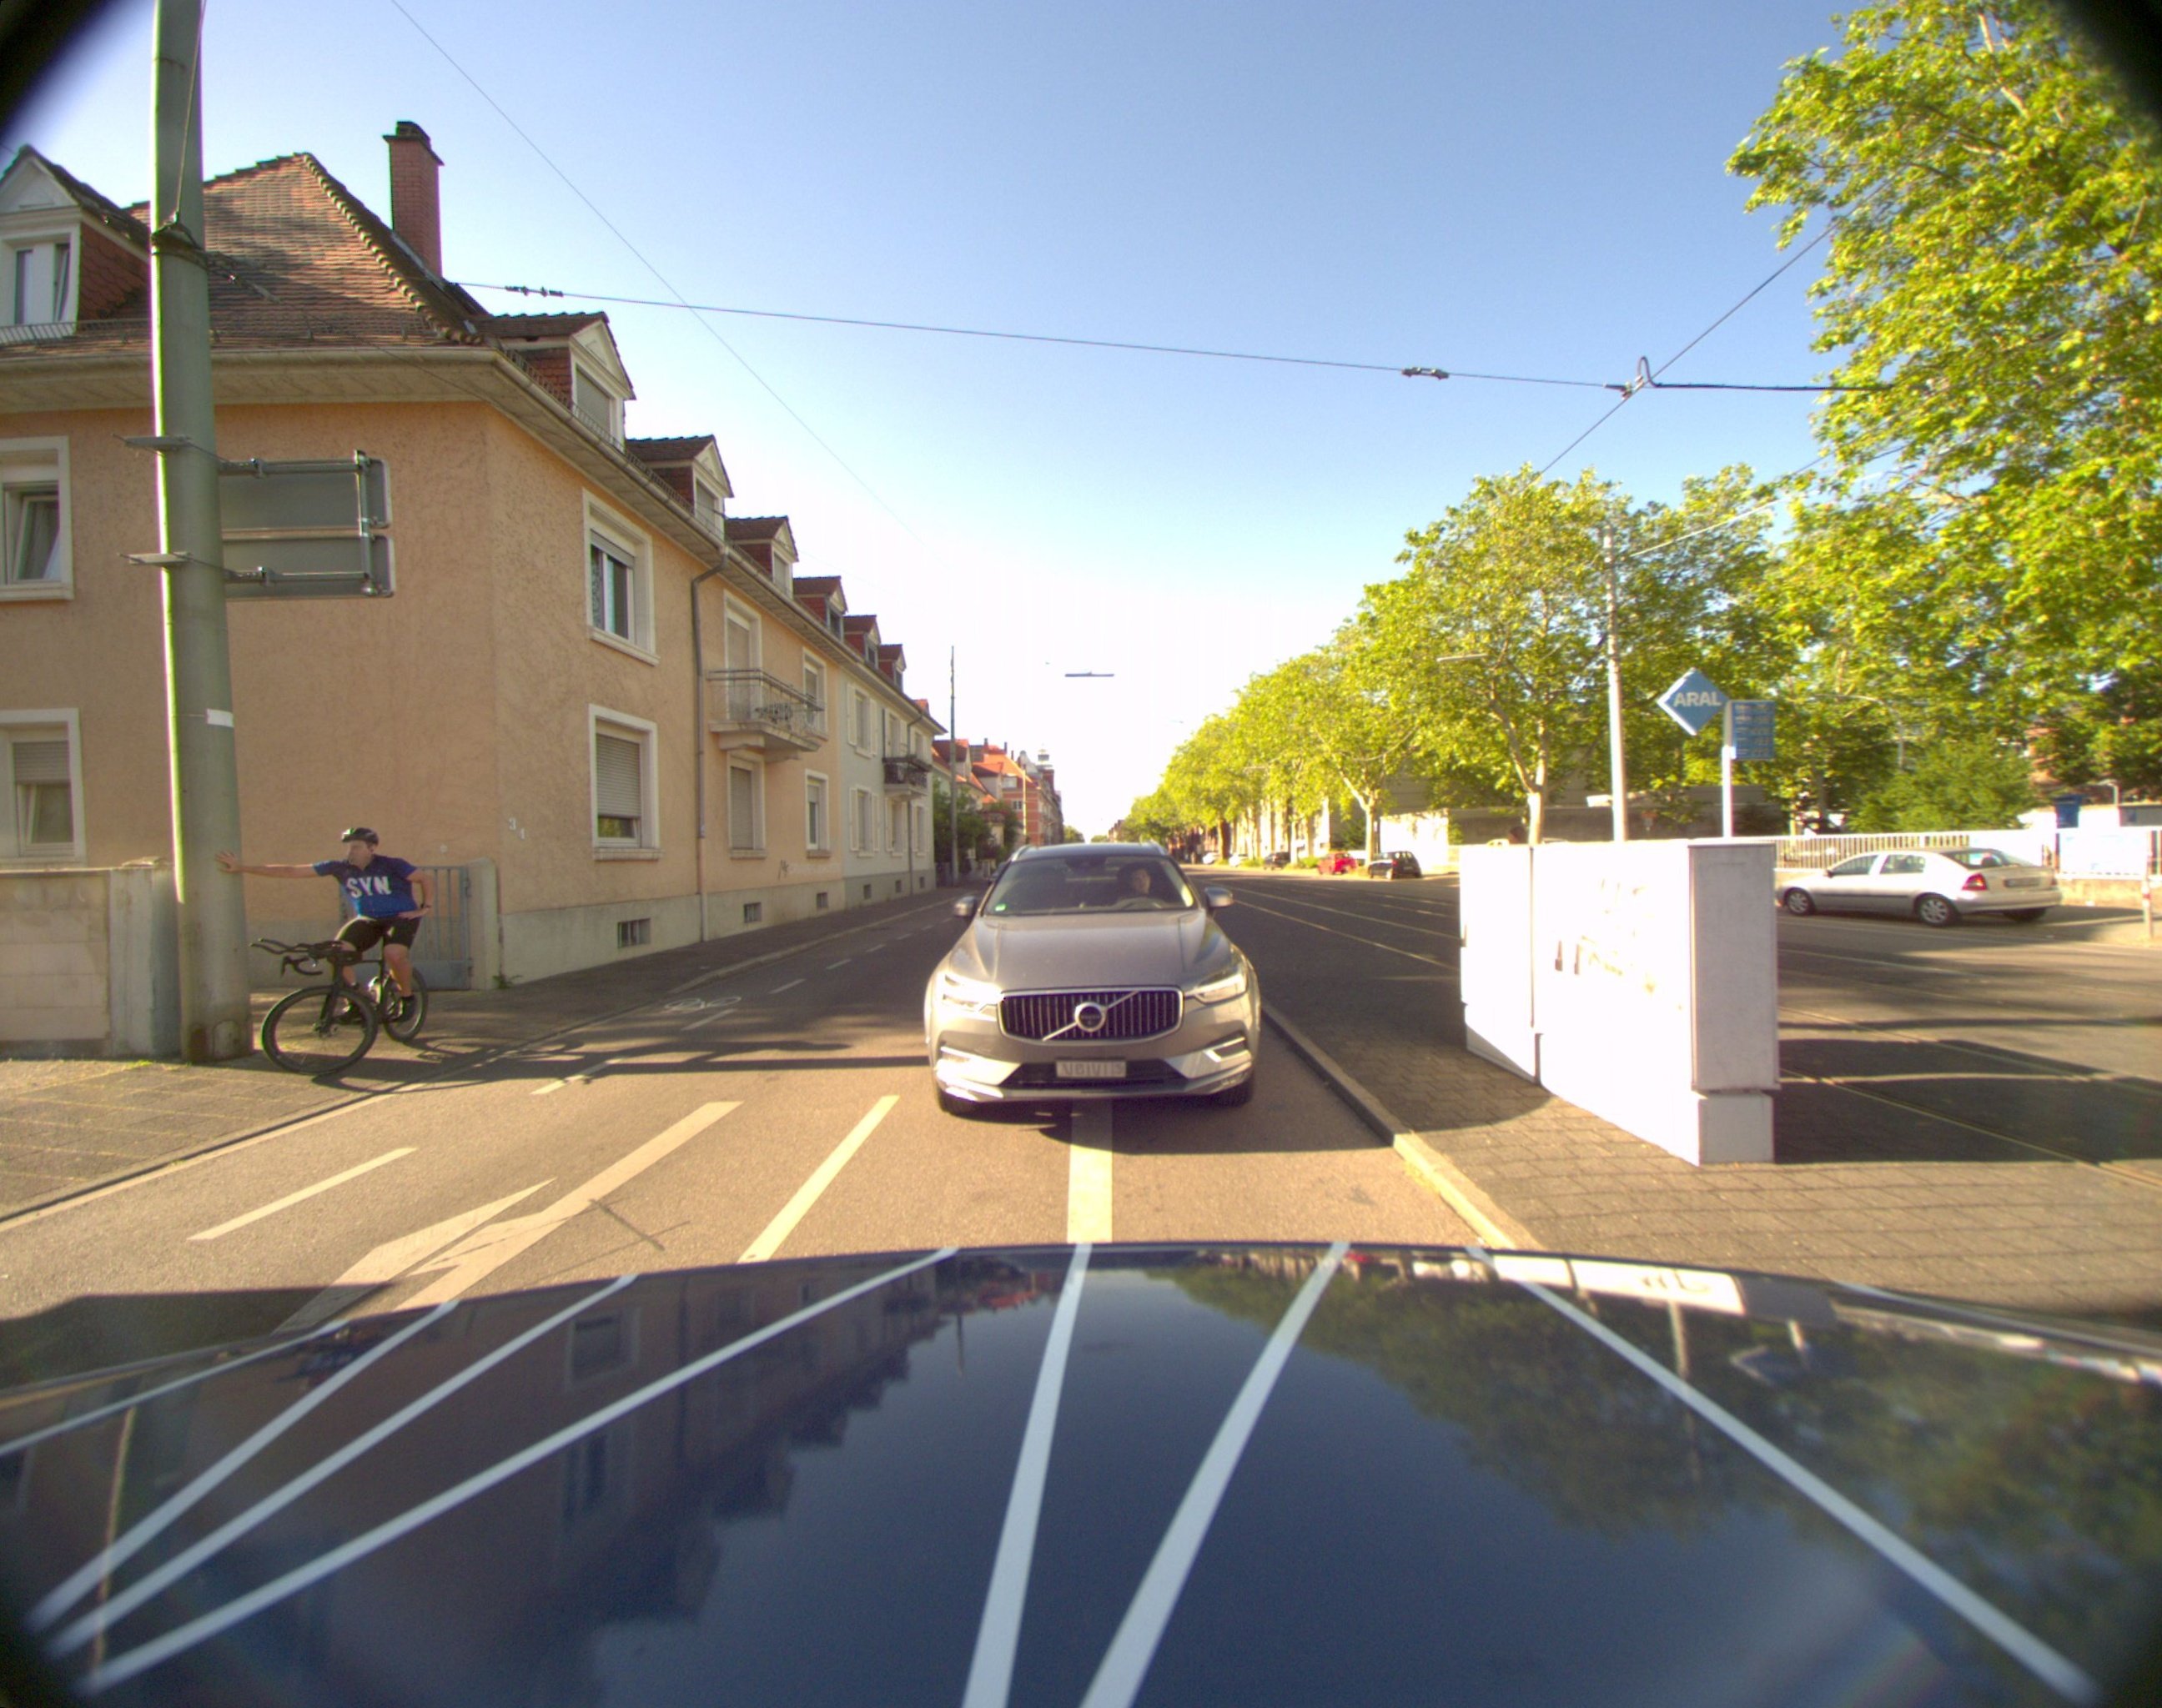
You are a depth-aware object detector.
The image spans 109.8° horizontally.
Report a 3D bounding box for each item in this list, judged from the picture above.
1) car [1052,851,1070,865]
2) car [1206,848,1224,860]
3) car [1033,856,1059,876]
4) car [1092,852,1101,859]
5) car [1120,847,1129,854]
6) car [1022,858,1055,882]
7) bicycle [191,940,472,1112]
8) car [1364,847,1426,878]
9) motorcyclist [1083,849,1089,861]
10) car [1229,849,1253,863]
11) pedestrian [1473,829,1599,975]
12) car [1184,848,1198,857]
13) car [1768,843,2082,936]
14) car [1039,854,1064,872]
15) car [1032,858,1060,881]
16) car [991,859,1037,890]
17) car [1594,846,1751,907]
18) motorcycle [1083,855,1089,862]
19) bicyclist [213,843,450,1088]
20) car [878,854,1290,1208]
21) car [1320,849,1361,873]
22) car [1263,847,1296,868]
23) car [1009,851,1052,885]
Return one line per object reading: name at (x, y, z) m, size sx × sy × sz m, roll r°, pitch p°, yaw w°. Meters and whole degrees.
car at (-2.206, 0.451, 85.494) m, size 1.875 × 1.477 × 4.000 m, roll -1°, pitch 0°, yaw 1°
car at (17.730, -0.011, 100.675) m, size 1.802 × 1.504 × 4.000 m, roll -1°, pitch 0°, yaw 1°
car at (-2.752, 0.946, 60.679) m, size 1.785 × 1.468 × 4.000 m, roll -1°, pitch 0°, yaw 1°
car at (3.625, 0.394, 177.051) m, size 1.998 × 1.543 × 4.000 m, roll -1°, pitch 0°, yaw 1°
car at (11.046, -0.800, 192.815) m, size 1.998 × 1.652 × 4.000 m, roll -1°, pitch 0°, yaw 1°
car at (-2.684, 0.993, 48.307) m, size 1.785 × 1.346 × 4.000 m, roll -1°, pitch 0°, yaw 1°
bicycle at (-5.941, 1.304, 6.179) m, size 0.572 × 0.986 × 1.698 m, roll 2°, pitch 0°, yaw 1°
car at (16.882, 0.422, 40.984) m, size 1.826 × 1.521 × 3.653 m, roll -2°, pitch 0°, yaw 1°
motorcyclist at (0.729, 0.199, 115.912) m, size 0.827 × 1.832 × 1.159 m, roll -2°, pitch 1°, yaw 1°
car at (17.544, 0.221, 83.430) m, size 1.802 × 1.489 × 4.000 m, roll -1°, pitch 0°, yaw 1°
pedestrian at (5.522, 0.546, 9.256) m, size 0.696 × 1.652 × 1.096 m, roll -3°, pitch 1°, yaw -35°
car at (18.191, -0.221, 125.632) m, size 1.802 × 1.504 × 4.000 m, roll -1°, pitch 0°, yaw 1°
car at (16.246, 0.598, 14.995) m, size 1.795 × 1.455 × 3.966 m, roll -4°, pitch 0°, yaw 2°
car at (-2.563, 0.769, 66.832) m, size 1.875 × 1.477 × 4.000 m, roll -1°, pitch 0°, yaw 1°
car at (-2.467, 1.086, 54.442) m, size 1.785 × 1.468 × 4.000 m, roll -1°, pitch 0°, yaw 1°
car at (-3.210, 0.966, 37.029) m, size 1.647 × 1.357 × 3.868 m, roll -1°, pitch 0°, yaw 4°
car at (16.432, 0.576, 21.343) m, size 1.692 × 1.455 × 3.519 m, roll -4°, pitch 0°, yaw 2°
motorcycle at (0.748, 0.699, 115.777) m, size 0.792 × 1.095 × 2.519 m, roll 0°, pitch 0°, yaw 1°
bicyclist at (-6.146, 0.864, 6.293) m, size 1.076 × 1.854 × 0.846 m, roll 2°, pitch 1°, yaw 1°
car at (0.043, 0.853, 5.804) m, size 1.940 × 1.650 × 4.321 m, roll -1°, pitch 0°, yaw 1°
car at (16.942, 0.435, 49.753) m, size 1.641 × 1.499 × 3.046 m, roll -1°, pitch 0°, yaw 1°
car at (17.194, 0.286, 66.045) m, size 1.802 × 1.652 × 4.000 m, roll -1°, pitch 0°, yaw 1°
car at (-2.789, 0.717, 42.888) m, size 1.751 × 1.767 × 5.351 m, roll -1°, pitch 0°, yaw 3°
